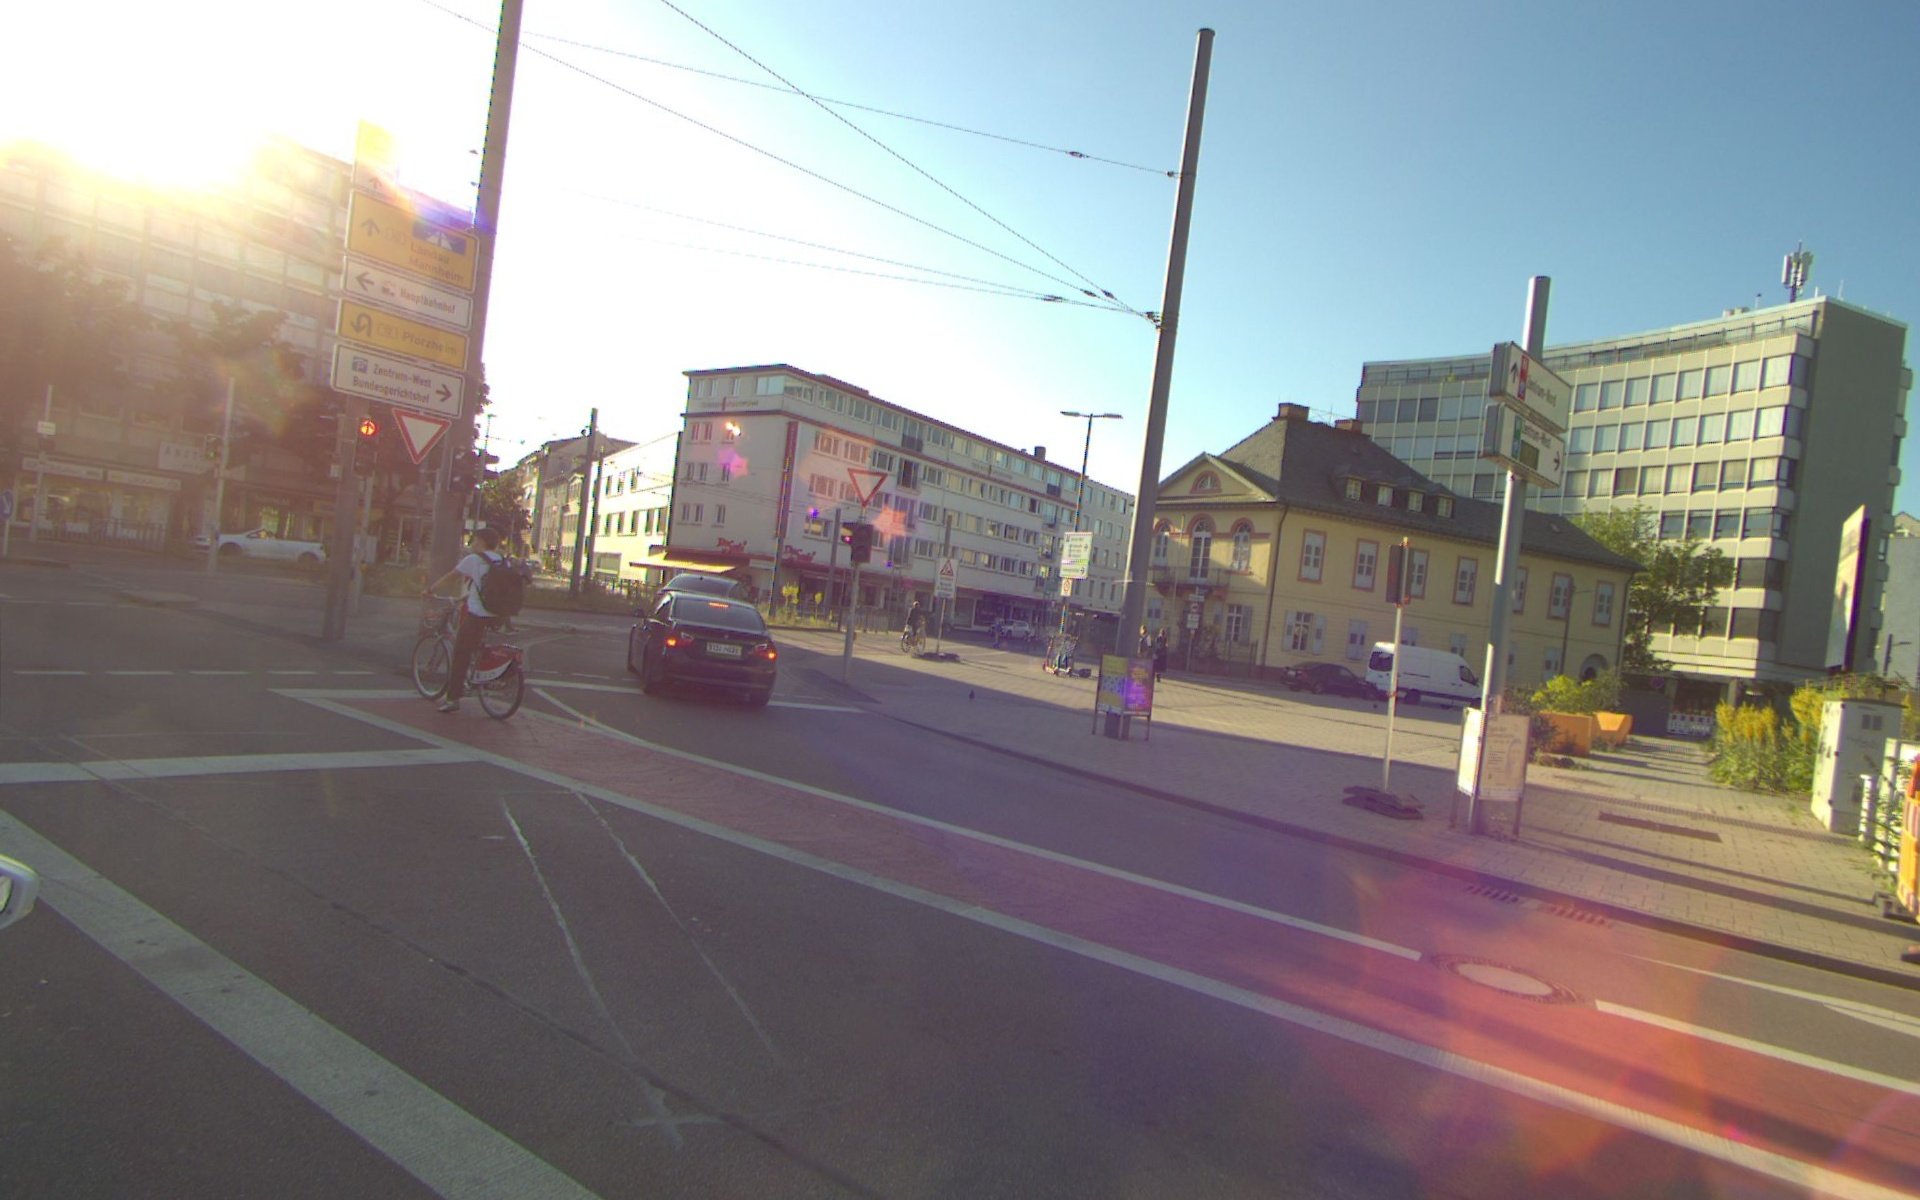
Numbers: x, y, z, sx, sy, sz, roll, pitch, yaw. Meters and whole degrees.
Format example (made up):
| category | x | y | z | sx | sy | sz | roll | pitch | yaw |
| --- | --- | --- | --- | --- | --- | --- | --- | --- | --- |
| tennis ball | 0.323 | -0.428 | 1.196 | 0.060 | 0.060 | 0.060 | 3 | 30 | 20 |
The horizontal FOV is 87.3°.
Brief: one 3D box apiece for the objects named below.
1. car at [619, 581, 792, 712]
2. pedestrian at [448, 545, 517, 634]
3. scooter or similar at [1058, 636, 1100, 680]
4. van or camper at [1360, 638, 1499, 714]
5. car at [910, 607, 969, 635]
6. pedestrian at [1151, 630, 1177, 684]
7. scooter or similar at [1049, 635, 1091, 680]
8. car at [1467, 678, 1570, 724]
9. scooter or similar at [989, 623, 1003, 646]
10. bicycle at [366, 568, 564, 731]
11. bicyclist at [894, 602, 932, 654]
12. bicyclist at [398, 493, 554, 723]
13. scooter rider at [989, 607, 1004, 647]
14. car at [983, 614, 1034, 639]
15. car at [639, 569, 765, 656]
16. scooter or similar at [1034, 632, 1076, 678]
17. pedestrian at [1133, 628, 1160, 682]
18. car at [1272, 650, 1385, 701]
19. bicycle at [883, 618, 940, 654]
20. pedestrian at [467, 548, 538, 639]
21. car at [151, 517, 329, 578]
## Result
| category | x | y | z | sx | sy | sz | roll | pitch | yaw |
| --- | --- | --- | --- | --- | --- | --- | --- | --- | --- |
| car | -3.843 | 0.581 | 14.676 | 1.726 | 1.443 | 3.979 | 7 | -1 | -23 |
| pedestrian | -9.342 | -0.193 | 19.703 | 0.644 | 1.617 | 0.879 | 7 | 1 | 30 |
| scooter or similar | 3.875 | 1.888 | 32.861 | 0.564 | 1.274 | 1.334 | 7 | 0 | -28 |
| van or camper | 21.066 | 3.420 | 45.164 | 5.524 | 2.668 | 1.992 | 7 | 0 | -18 |
| car | -1.516 | 1.604 | 75.744 | 1.971 | 1.597 | 4.307 | 7 | -1 | 39 |
| pedestrian | 7.304 | 2.055 | 35.989 | 0.587 | 1.847 | 0.728 | 7 | 1 | 23 |
| scooter or similar | 3.507 | 1.820 | 32.264 | 0.564 | 1.274 | 1.334 | 7 | 0 | -28 |
| car | 26.257 | 4.736 | 47.326 | 3.941 | 1.593 | 1.992 | 7 | 0 | -18 |
| scooter or similar | 1.783 | 1.719 | 49.974 | 0.485 | 1.046 | 1.386 | 7 | 0 | -3 |
| bicycle | -4.820 | 0.455 | 9.742 | 2.014 | 1.237 | 0.645 | 9 | 0 | 33 |
| bicyclist | -1.638 | 0.978 | 35.184 | 0.680 | 1.682 | 0.959 | 7 | 0 | 35 |
| bicyclist | -4.659 | 0.078 | 9.687 | 1.049 | 2.037 | 0.644 | 9 | 0 | 33 |
| scooter rider | 1.821 | 1.347 | 50.121 | 0.492 | 1.943 | 0.533 | 7 | 1 | -3 |
| car | 4.022 | 2.220 | 83.493 | 1.971 | 1.597 | 4.307 | 7 | -1 | 39 |
| car | -6.329 | 0.318 | 25.143 | 1.964 | 1.713 | 4.000 | 9 | -1 | -1 |
| scooter or similar | 3.012 | 1.742 | 31.948 | 0.564 | 1.274 | 1.334 | 7 | 0 | -28 |
| pedestrian | 6.721 | 1.986 | 36.243 | 0.587 | 1.847 | 0.728 | 7 | 1 | 23 |
| car | 15.845 | 3.248 | 43.328 | 4.102 | 1.593 | 1.992 | 7 | 0 | -18 |
| bicycle | -1.669 | 1.278 | 35.192 | 0.671 | 1.039 | 2.227 | 7 | -1 | 35 |
| pedestrian | -8.700 | -0.114 | 19.163 | 0.644 | 1.617 | 0.879 | 7 | 1 | 30 |
| car | -26.562 | -1.904 | 37.290 | 1.970 | 1.496 | 4.919 | 7 | -1 | 37 |
